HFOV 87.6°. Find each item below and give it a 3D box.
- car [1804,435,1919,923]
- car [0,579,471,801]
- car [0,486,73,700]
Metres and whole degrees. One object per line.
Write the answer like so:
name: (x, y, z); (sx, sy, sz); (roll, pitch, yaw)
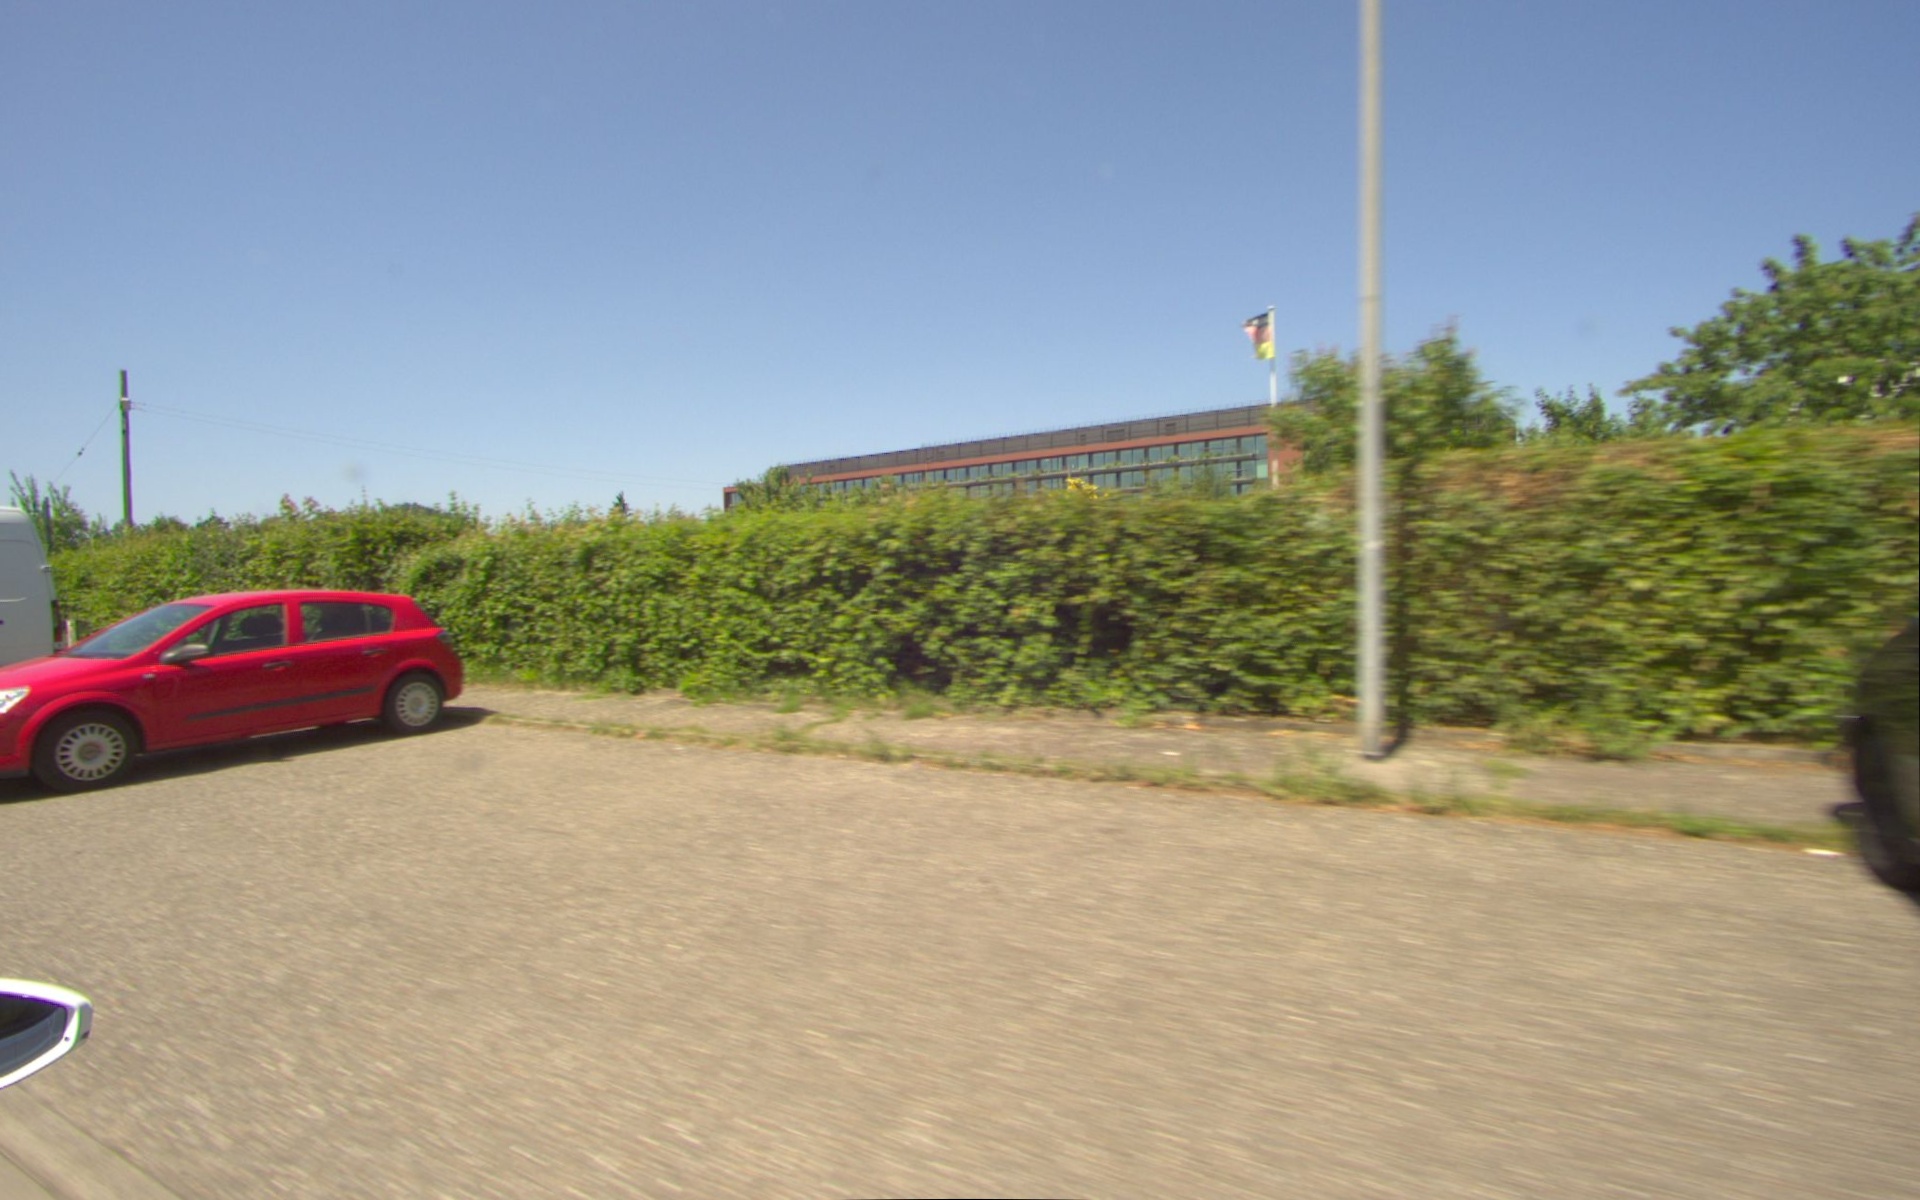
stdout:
car: (4.077, 0.324, 2.582); (1.922, 1.830, 4.447); (-1, 3, 27)
car: (-6.871, 0.624, 9.072); (1.807, 1.454, 4.047); (0, 3, 28)
car: (-15.581, -0.062, 14.627); (7.064, 2.772, 1.948); (0, 4, 33)
